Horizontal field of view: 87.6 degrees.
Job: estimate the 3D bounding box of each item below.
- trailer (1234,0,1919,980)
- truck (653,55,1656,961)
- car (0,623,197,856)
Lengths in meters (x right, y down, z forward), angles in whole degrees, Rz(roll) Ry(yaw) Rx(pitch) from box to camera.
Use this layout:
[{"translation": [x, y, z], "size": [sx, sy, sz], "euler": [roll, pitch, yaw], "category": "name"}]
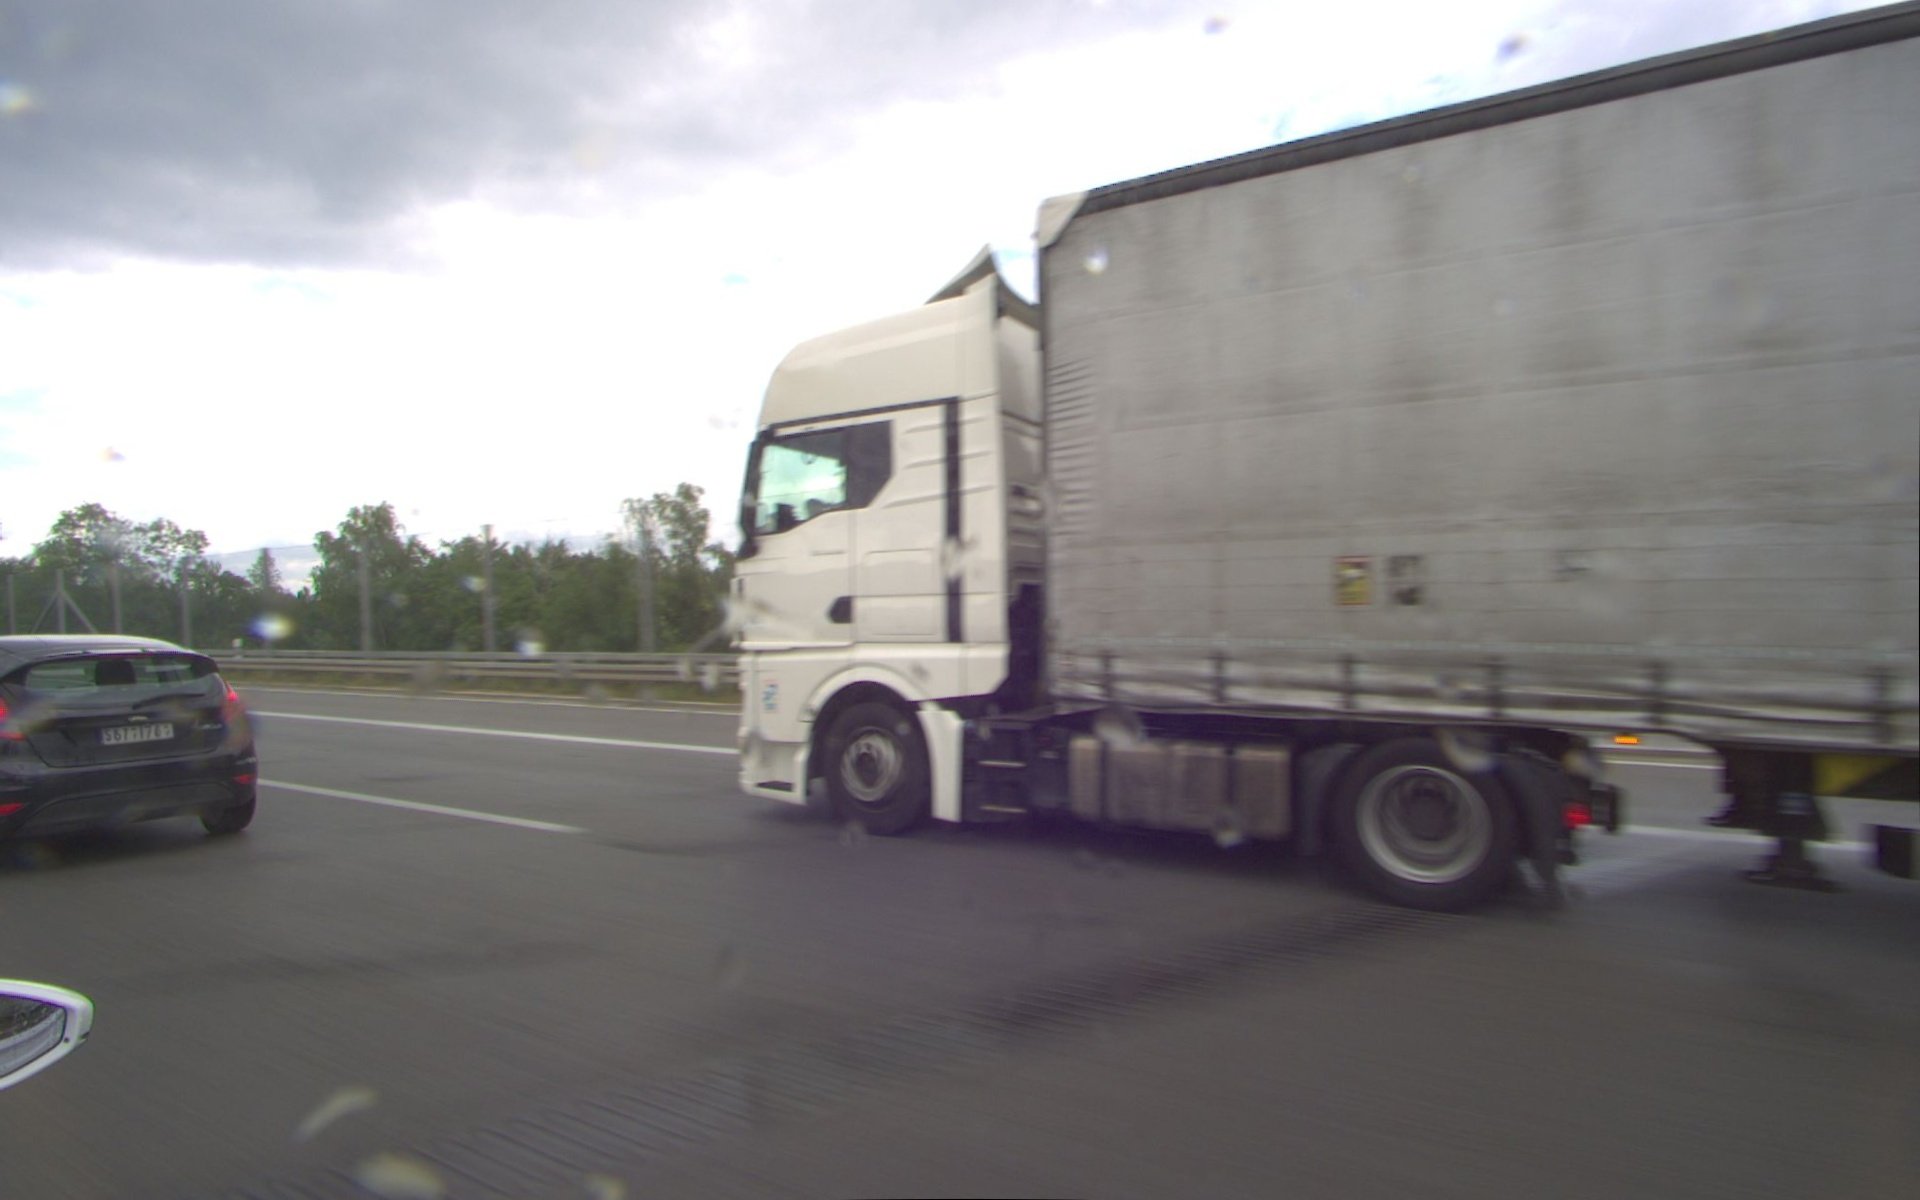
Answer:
[{"translation": [8.177, -0.508, 3.070], "size": [13.911, 4.072, 2.956], "euler": [0, -1, 32], "category": "trailer"}, {"translation": [1.105, -0.376, 7.475], "size": [6.492, 4.072, 2.957], "euler": [0, 0, 31], "category": "truck"}, {"translation": [-7.245, 0.916, 7.510], "size": [3.118, 1.460, 1.444], "euler": [0, -1, 32], "category": "car"}]
